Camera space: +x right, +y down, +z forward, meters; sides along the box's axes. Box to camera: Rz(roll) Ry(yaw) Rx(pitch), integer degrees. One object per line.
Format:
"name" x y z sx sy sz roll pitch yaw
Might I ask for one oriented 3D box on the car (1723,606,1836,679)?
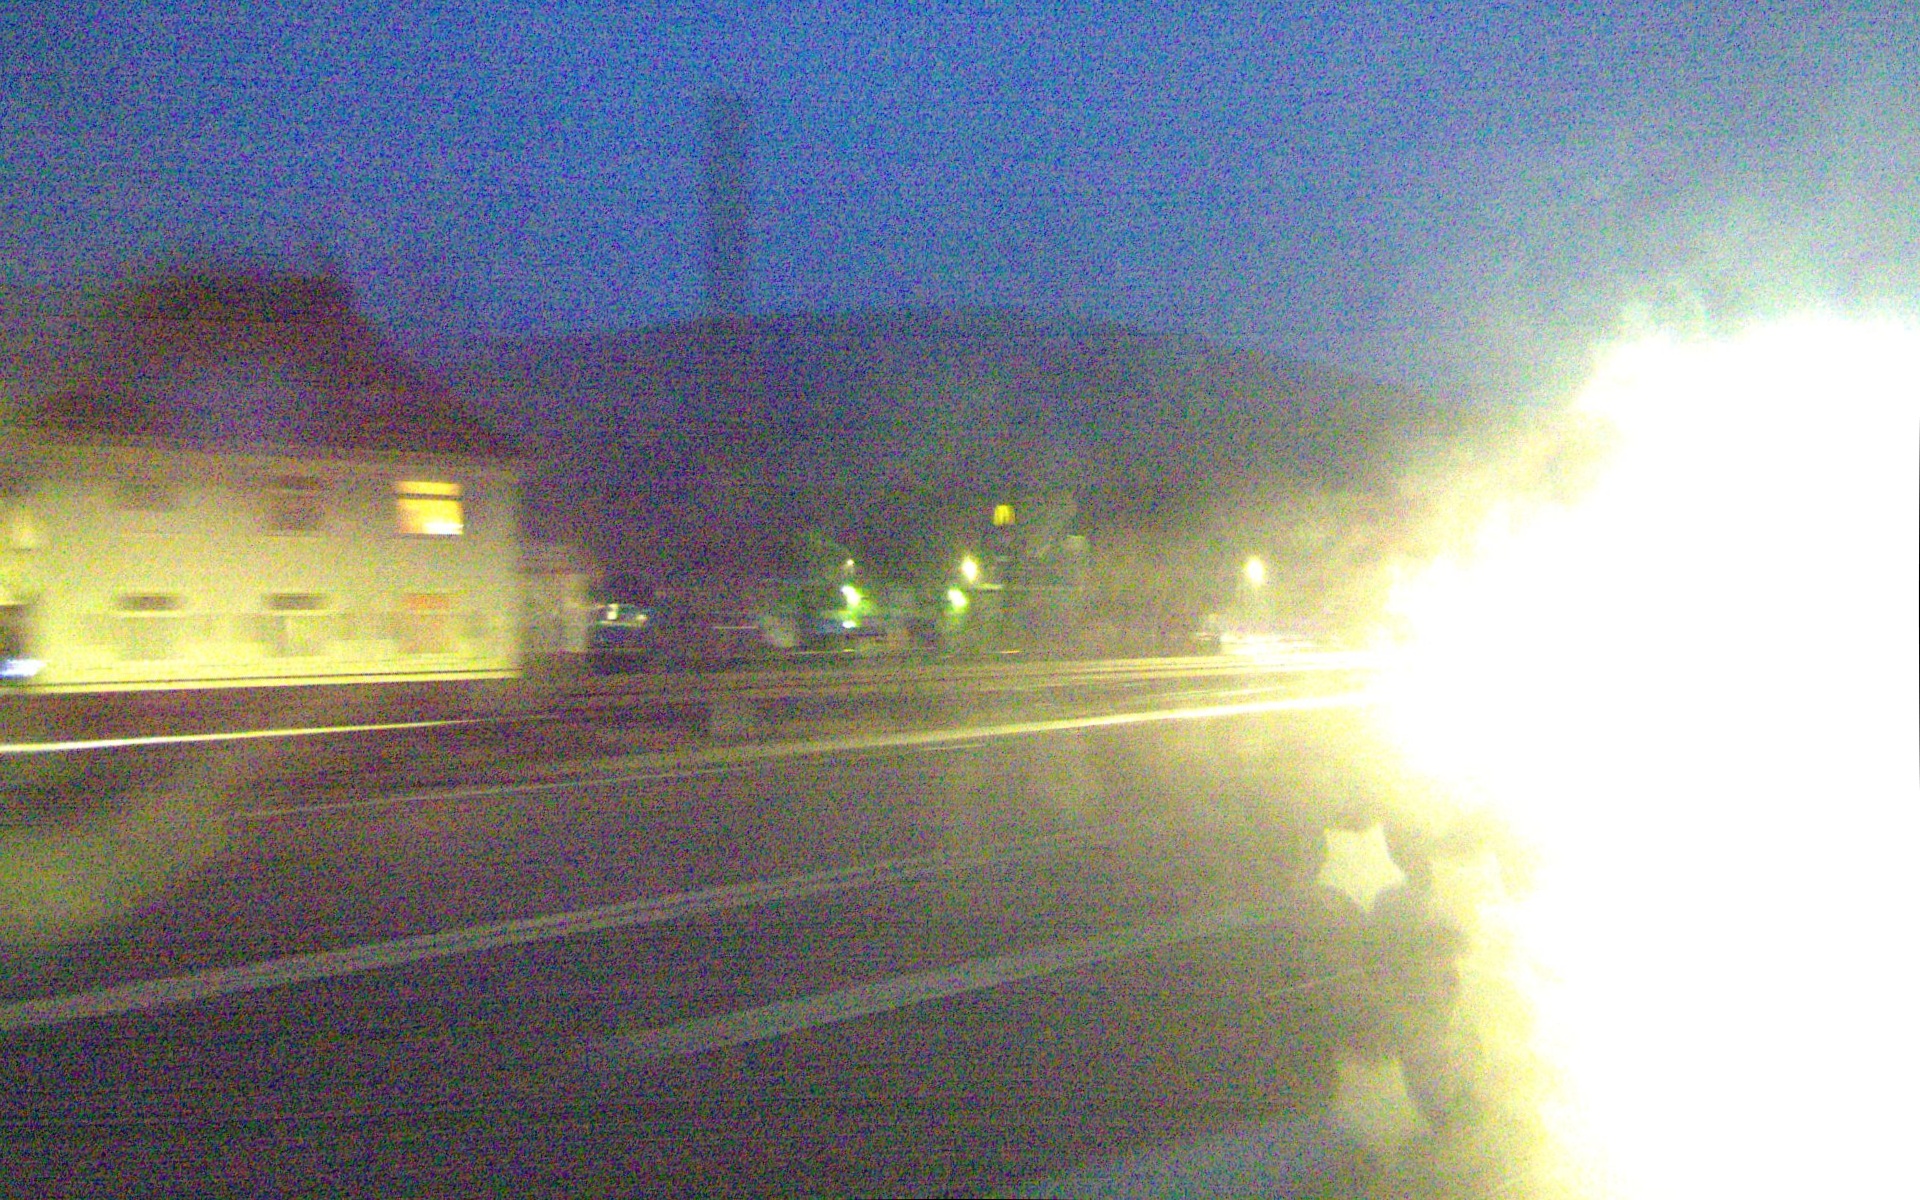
"car" 20.433 1.015 24.990 1.861 1.621 3.876 2 0 44

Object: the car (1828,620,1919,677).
"car" 31.737 1.603 34.722 4.494 1.768 2.177 1 0 -44
